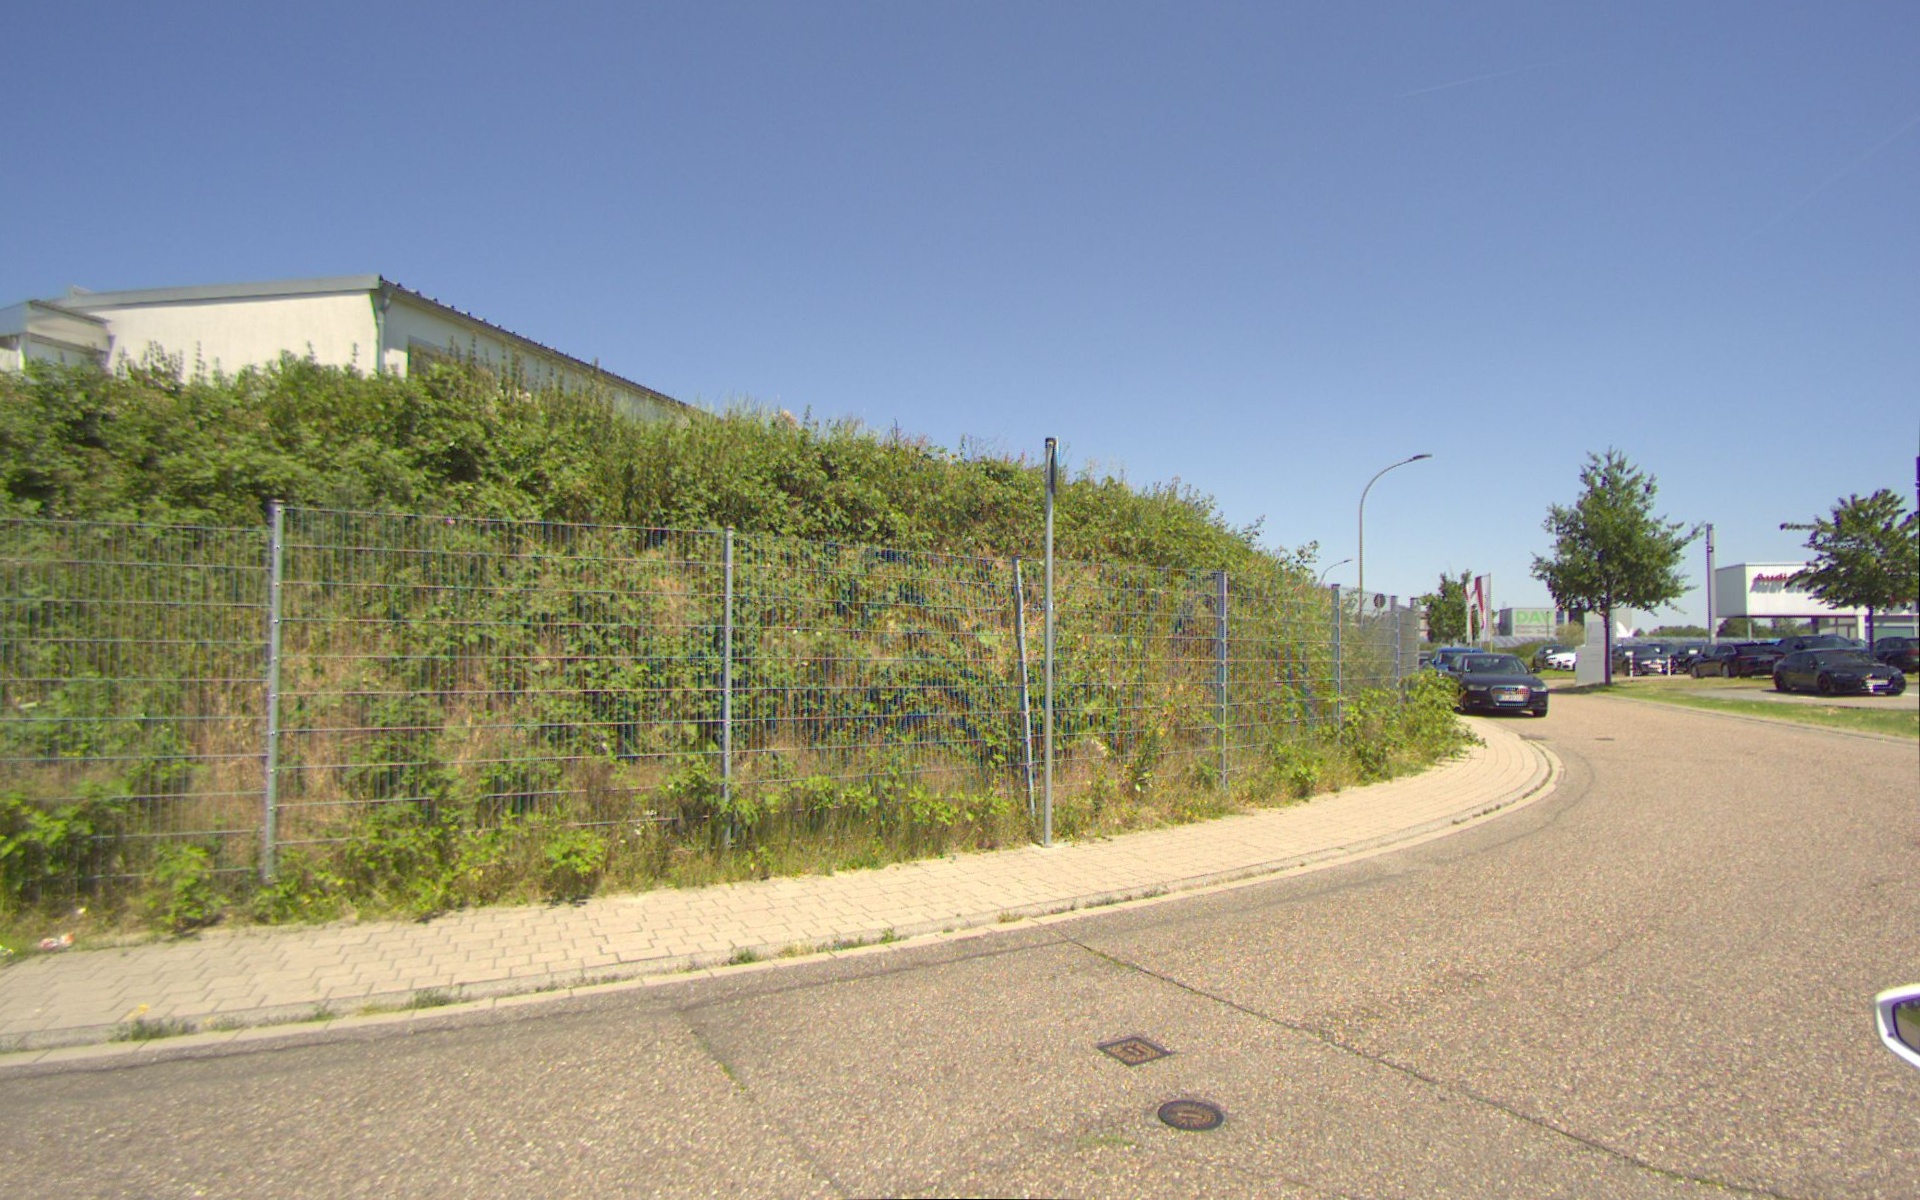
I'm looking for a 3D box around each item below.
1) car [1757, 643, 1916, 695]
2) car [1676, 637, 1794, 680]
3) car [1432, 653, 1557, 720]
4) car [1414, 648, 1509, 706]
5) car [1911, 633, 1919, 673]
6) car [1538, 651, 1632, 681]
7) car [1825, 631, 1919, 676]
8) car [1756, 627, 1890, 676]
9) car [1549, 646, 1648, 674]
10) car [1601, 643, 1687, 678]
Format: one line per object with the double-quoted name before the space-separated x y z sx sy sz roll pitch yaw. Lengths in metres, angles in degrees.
"car" 27.280 2.113 31.490 1.929 1.384 4.722 -4 -3 17
"car" 29.681 2.304 38.672 1.929 1.475 4.990 -3 -6 18
"car" 12.902 2.047 24.545 1.794 1.473 4.584 -1 -3 17
"car" 14.980 2.278 30.201 1.794 1.590 4.389 -1 -3 17
"car" 36.602 1.790 35.753 1.929 1.475 4.990 -3 -6 18
"car" 38.400 4.069 61.834 4.452 1.714 2.033 -2 -4 16
"car" 34.316 2.003 36.944 1.929 1.475 4.990 -3 -6 18
"car" 32.394 2.019 37.907 1.929 1.618 4.990 -3 -6 18
"car" 37.540 3.547 59.214 4.452 1.476 2.033 -2 -4 16
"car" 33.420 2.954 49.272 1.992 1.534 5.242 -4 -4 18
